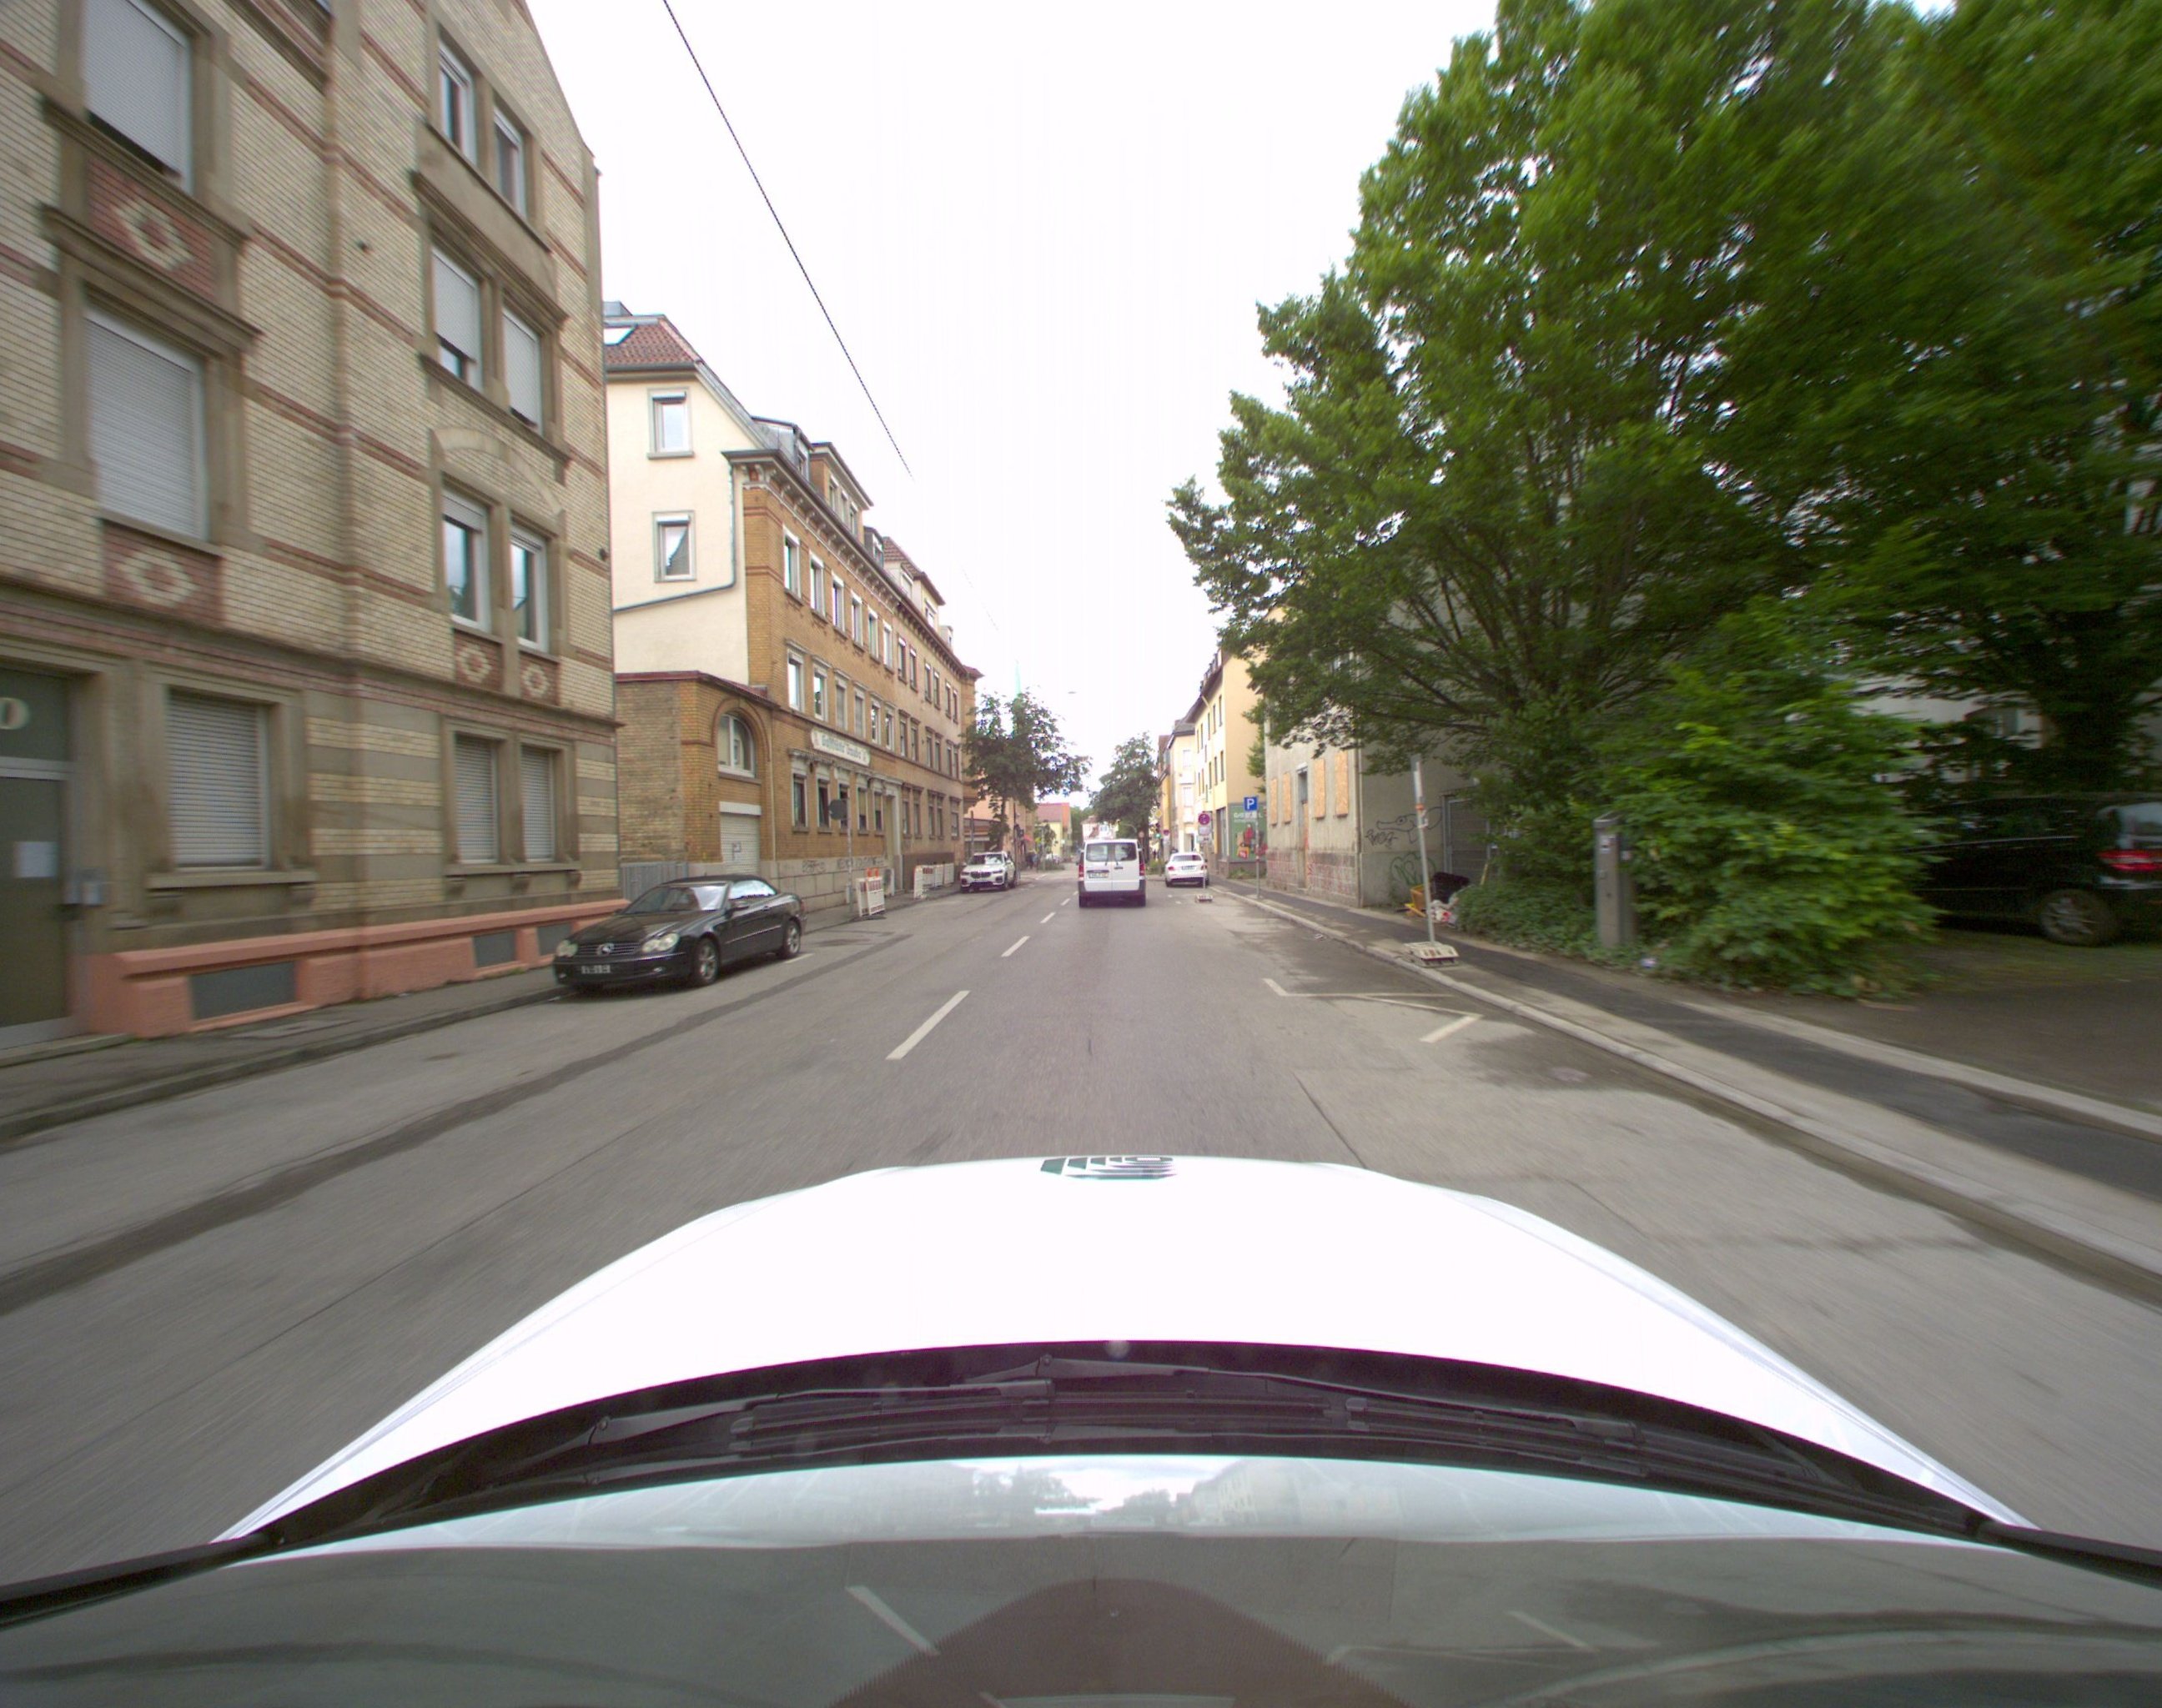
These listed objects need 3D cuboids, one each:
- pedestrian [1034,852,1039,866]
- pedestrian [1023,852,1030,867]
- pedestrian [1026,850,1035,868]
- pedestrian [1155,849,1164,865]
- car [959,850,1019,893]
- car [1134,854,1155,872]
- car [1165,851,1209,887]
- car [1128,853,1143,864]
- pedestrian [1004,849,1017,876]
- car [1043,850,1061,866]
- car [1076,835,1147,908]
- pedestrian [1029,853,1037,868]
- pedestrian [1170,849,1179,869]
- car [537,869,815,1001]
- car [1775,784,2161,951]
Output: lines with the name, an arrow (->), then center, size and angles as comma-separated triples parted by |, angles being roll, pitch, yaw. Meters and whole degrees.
pedestrian -> -5.271, 0.584, 96.337 | 0.569, 1.554, 0.697 | 0, 0, 1
pedestrian -> -5.968, 0.627, 89.470 | 0.729, 1.628, 0.756 | -2, 0, -9
pedestrian -> -4.876, 0.503, 78.977 | 0.736, 1.718, 1.156 | -1, 0, -1
pedestrian -> 8.113, 0.316, 84.328 | 0.698, 1.649, 0.888 | -3, 0, 0
car -> -4.060, 0.722, 36.683 | 1.883, 1.712, 4.744 | -4, 0, 2
car -> 6.639, 0.961, 85.215 | 1.814, 1.781, 4.401 | -1, 0, -1
car -> 4.683, 0.603, 36.494 | 1.759, 1.466, 4.790 | -1, 0, 5
car -> 6.878, 0.534, 102.714 | 1.546, 1.333, 3.811 | -1, 0, 0
pedestrian -> -4.633, 0.557, 53.582 | 0.737, 1.754, 0.981 | -1, 0, -3
car -> -3.235, 0.451, 90.866 | 1.697, 1.574, 4.450 | -4, 0, 0
car -> 0.879, 0.461, 23.787 | 1.865, 1.912, 4.002 | -2, 0, 2
pedestrian -> -4.997, 0.643, 84.246 | 0.736, 1.535, 0.982 | -1, 0, 0
pedestrian -> 7.758, 0.432, 67.543 | 0.612, 1.653, 0.983 | -1, 0, 0
car -> -5.496, 0.996, 11.779 | 1.572, 1.382, 4.358 | -3, 0, 3
car -> 11.105, 0.063, 9.991 | 1.631, 1.584, 3.998 | -4, 1, -2
